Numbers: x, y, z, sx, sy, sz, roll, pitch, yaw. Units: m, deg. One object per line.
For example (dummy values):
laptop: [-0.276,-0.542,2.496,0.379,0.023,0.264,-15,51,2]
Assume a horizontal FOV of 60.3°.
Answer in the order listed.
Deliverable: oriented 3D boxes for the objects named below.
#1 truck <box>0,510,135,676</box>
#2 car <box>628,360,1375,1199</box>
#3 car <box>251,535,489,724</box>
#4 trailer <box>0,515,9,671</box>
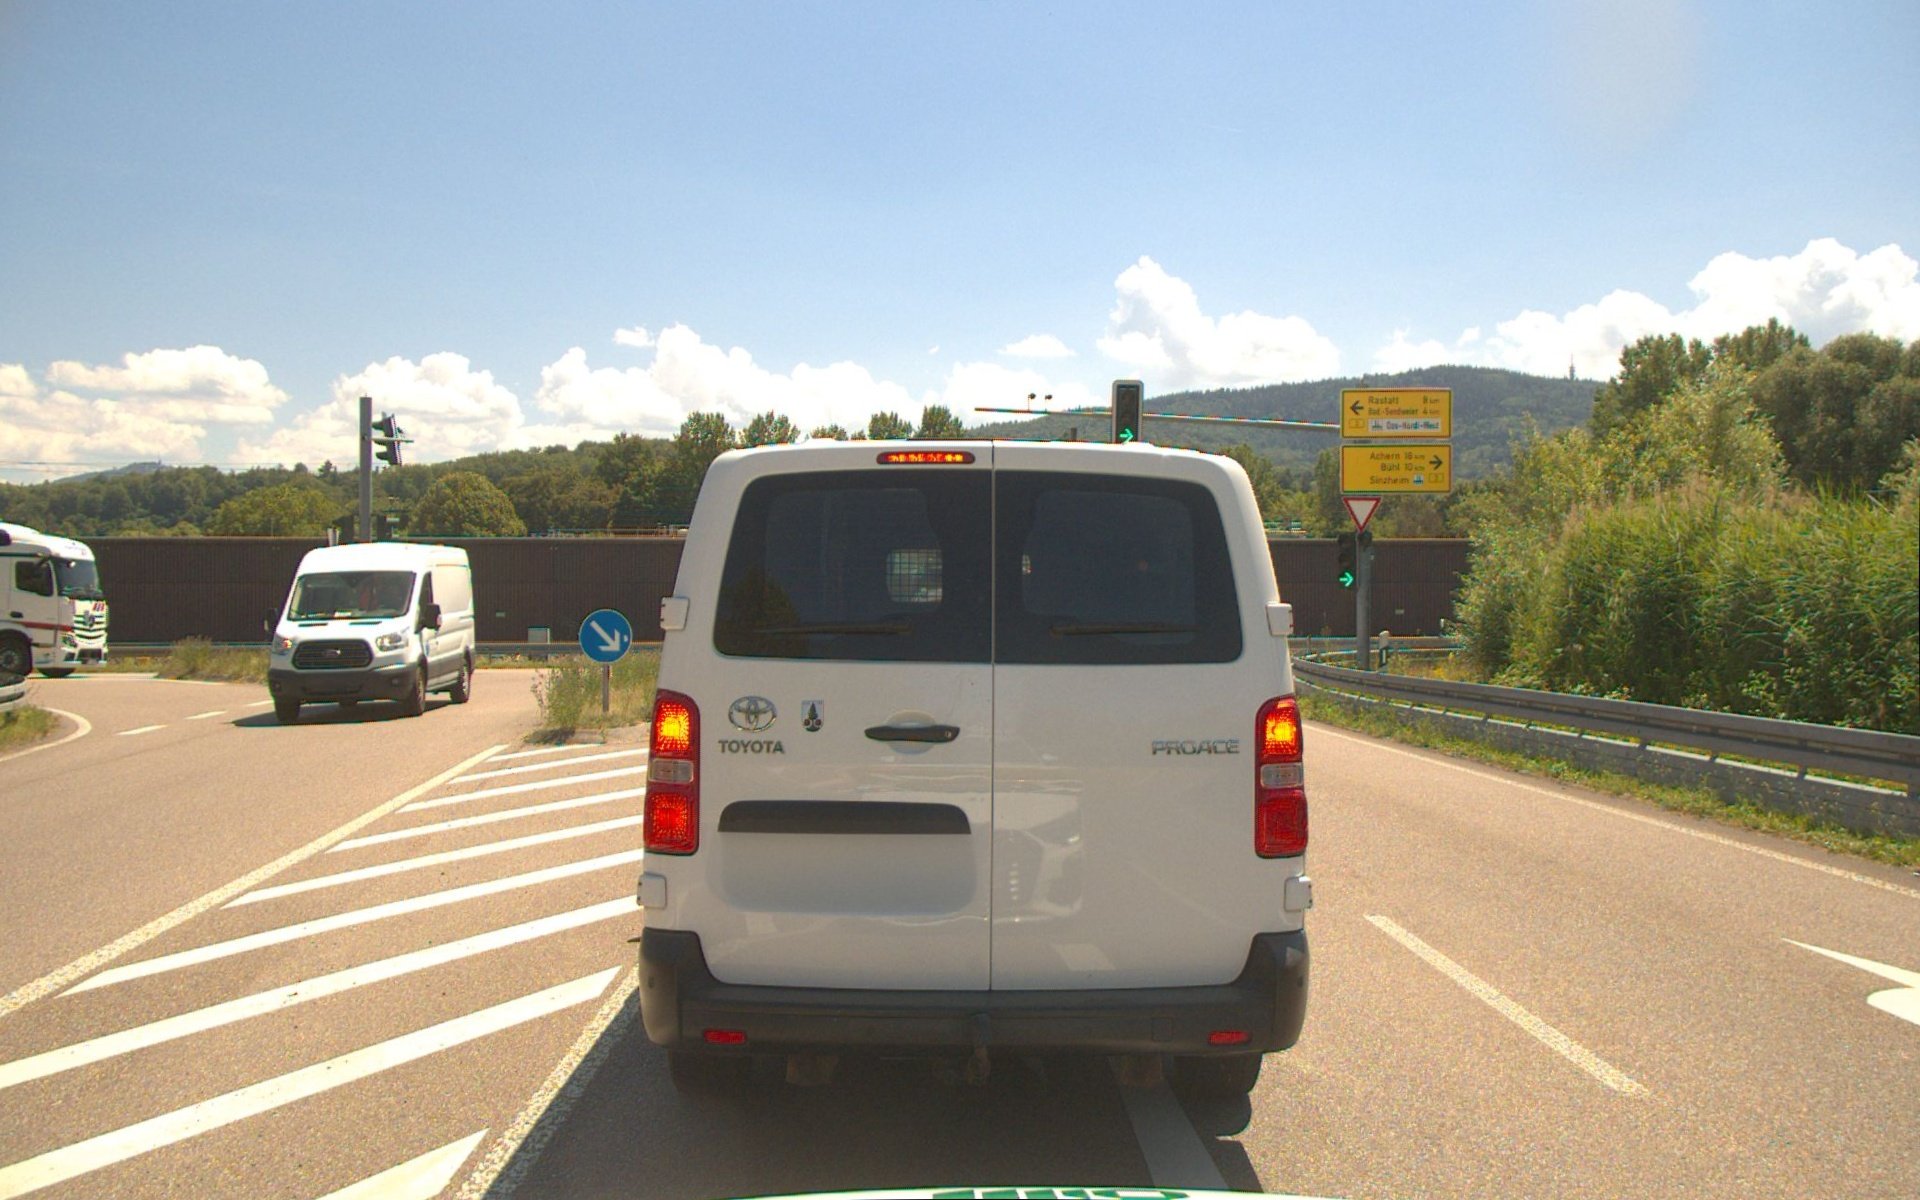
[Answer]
truck: [-24.415,-0.170,41.722,5.649,4.024,3.061,0,0,-3]
car: [0.074,0.467,5.946,1.778,2.053,3.999,0,0,-1]
car: [-8.661,0.385,24.852,1.955,2.458,5.583,-2,0,-5]
trailer: [-31.254,-0.206,41.398,12.877,4.024,3.060,0,0,-3]
